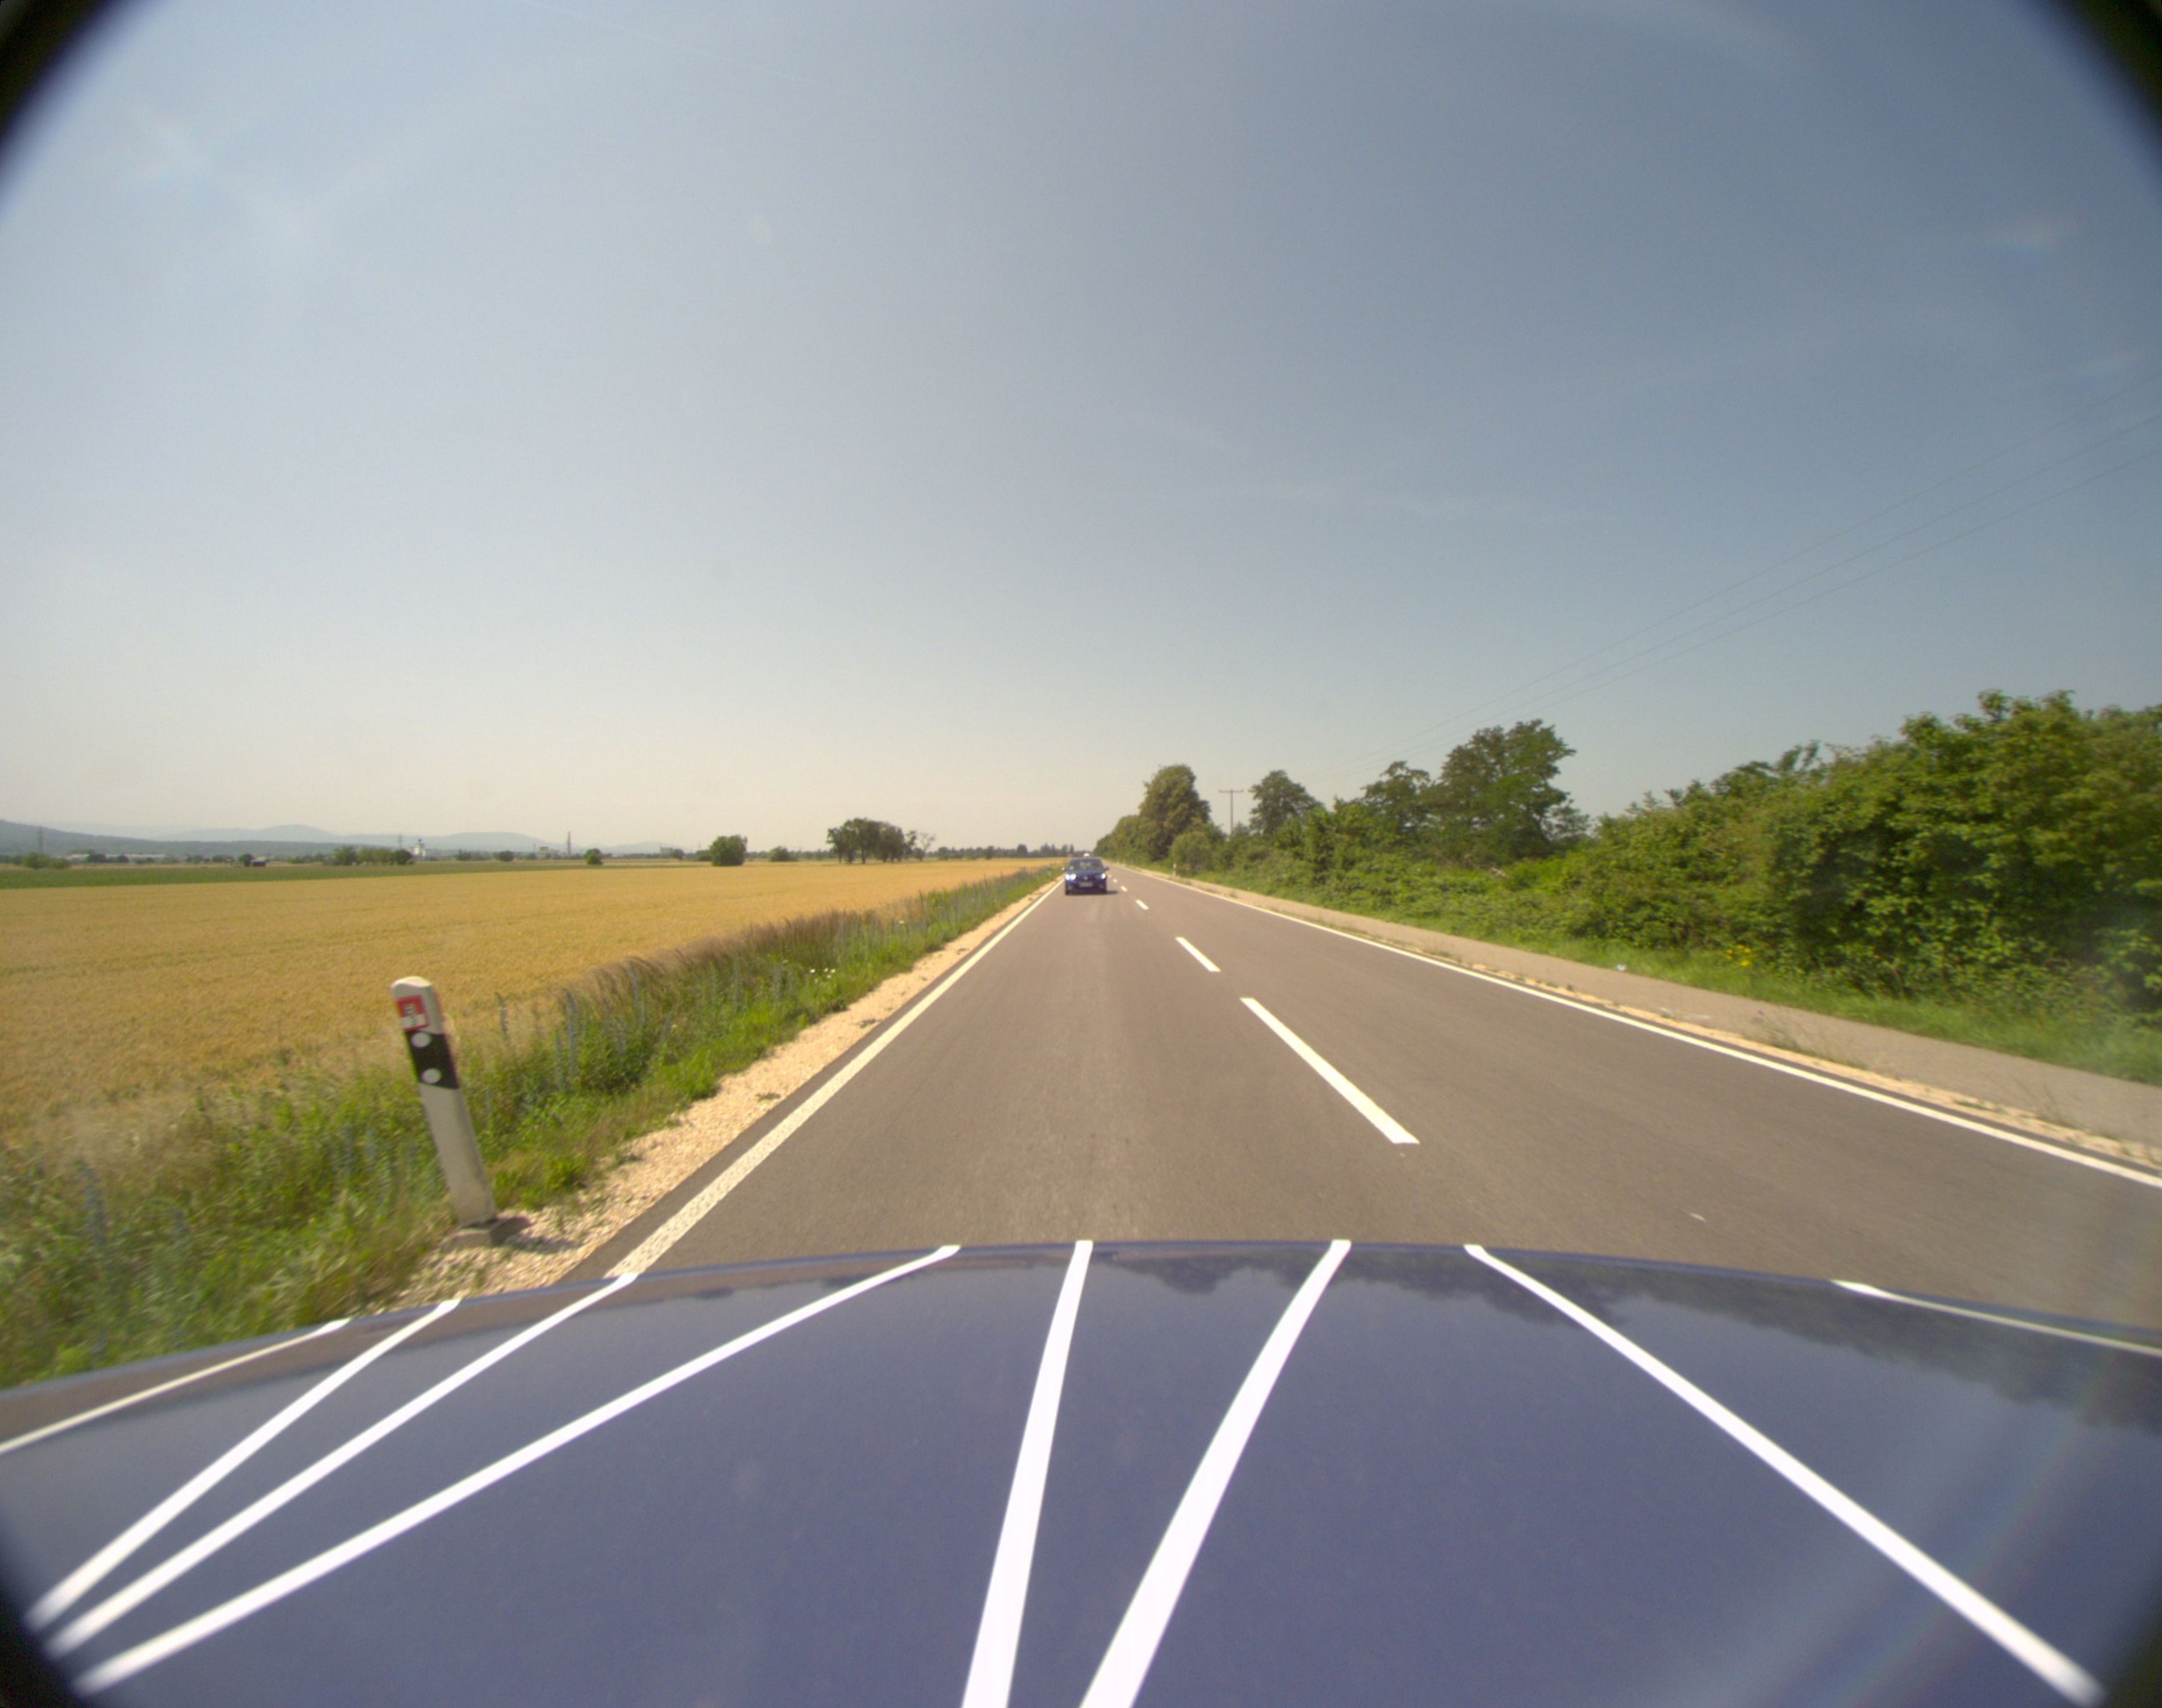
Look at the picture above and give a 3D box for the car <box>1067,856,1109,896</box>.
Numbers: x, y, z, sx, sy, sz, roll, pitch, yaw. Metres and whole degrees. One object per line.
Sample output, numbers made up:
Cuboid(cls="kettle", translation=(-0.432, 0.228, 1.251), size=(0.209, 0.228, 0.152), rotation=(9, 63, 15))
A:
Cuboid(cls="car", translation=(0.288, 0.877, 32.502), size=(1.662, 1.508, 4.000), rotation=(-2, 0, 0))
